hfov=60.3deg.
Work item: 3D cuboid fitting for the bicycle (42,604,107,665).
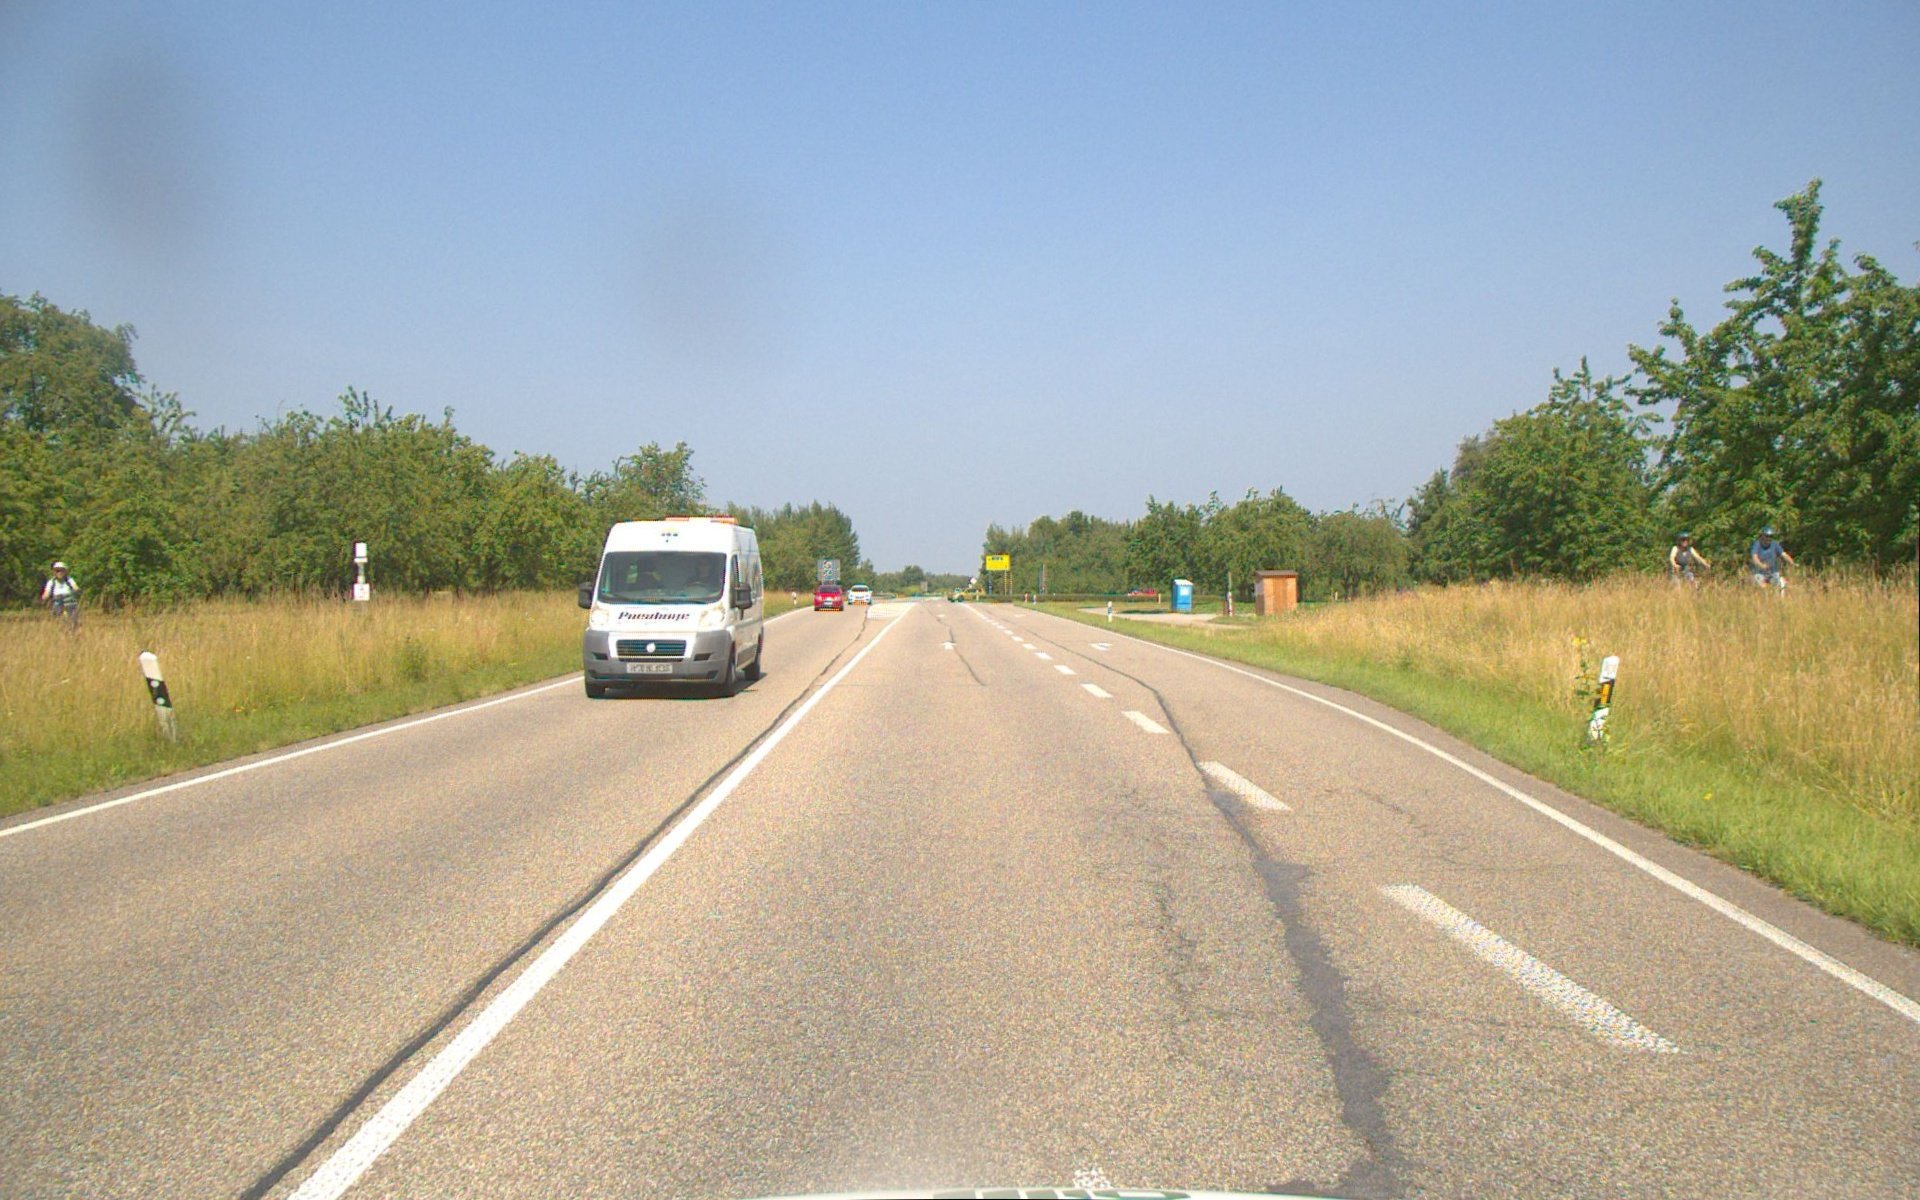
[{"bbox_3d":[-15.284,0.582,28.519,0.734,1.006,2.198,1,-1,-35],"label":"bicycle"}]

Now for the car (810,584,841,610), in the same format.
[{"bbox_3d":[-7.790,-0.159,95.957,1.592,1.482,3.620,0,0,-2],"label":"car"}]

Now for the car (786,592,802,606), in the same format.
[{"bbox_3d":[-18.030,-0.141,179.361,1.671,1.448,4.039,-1,0,-5],"label":"car"}]

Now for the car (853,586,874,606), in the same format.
[{"bbox_3d":[-7.594,-0.311,130.401,1.641,1.520,4.134,0,0,-3],"label":"car"}]

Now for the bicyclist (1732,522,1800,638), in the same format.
[{"bbox_3d":[14.006,-0.343,28.752,0.734,1.963,0.827,-1,0,-1],"label":"bicyclist"}]

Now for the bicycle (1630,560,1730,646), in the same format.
[{"bbox_3d":[12.670,0.038,29.194,0.734,1.443,2.221,-1,0,-1],"label":"bicycle"}]

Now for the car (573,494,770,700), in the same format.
[{"bbox_3d":[-4.167,-0.034,24.968,2.117,2.715,6.140,0,0,-2],"label":"car"}]

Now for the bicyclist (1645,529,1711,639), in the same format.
[{"bbox_3d":[12.667,-0.278,29.214,0.734,1.899,0.869,-1,0,-1],"label":"bicyclist"}]

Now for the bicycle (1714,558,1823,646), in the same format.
[{"bbox_3d":[14.017,0.027,28.743,0.734,1.443,2.221,-1,0,-1],"label":"bicycle"}]

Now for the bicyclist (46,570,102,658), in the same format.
[{"bbox_3d":[-15.268,0.245,28.500,0.734,1.480,0.853,1,-1,-35],"label":"bicyclist"}]
